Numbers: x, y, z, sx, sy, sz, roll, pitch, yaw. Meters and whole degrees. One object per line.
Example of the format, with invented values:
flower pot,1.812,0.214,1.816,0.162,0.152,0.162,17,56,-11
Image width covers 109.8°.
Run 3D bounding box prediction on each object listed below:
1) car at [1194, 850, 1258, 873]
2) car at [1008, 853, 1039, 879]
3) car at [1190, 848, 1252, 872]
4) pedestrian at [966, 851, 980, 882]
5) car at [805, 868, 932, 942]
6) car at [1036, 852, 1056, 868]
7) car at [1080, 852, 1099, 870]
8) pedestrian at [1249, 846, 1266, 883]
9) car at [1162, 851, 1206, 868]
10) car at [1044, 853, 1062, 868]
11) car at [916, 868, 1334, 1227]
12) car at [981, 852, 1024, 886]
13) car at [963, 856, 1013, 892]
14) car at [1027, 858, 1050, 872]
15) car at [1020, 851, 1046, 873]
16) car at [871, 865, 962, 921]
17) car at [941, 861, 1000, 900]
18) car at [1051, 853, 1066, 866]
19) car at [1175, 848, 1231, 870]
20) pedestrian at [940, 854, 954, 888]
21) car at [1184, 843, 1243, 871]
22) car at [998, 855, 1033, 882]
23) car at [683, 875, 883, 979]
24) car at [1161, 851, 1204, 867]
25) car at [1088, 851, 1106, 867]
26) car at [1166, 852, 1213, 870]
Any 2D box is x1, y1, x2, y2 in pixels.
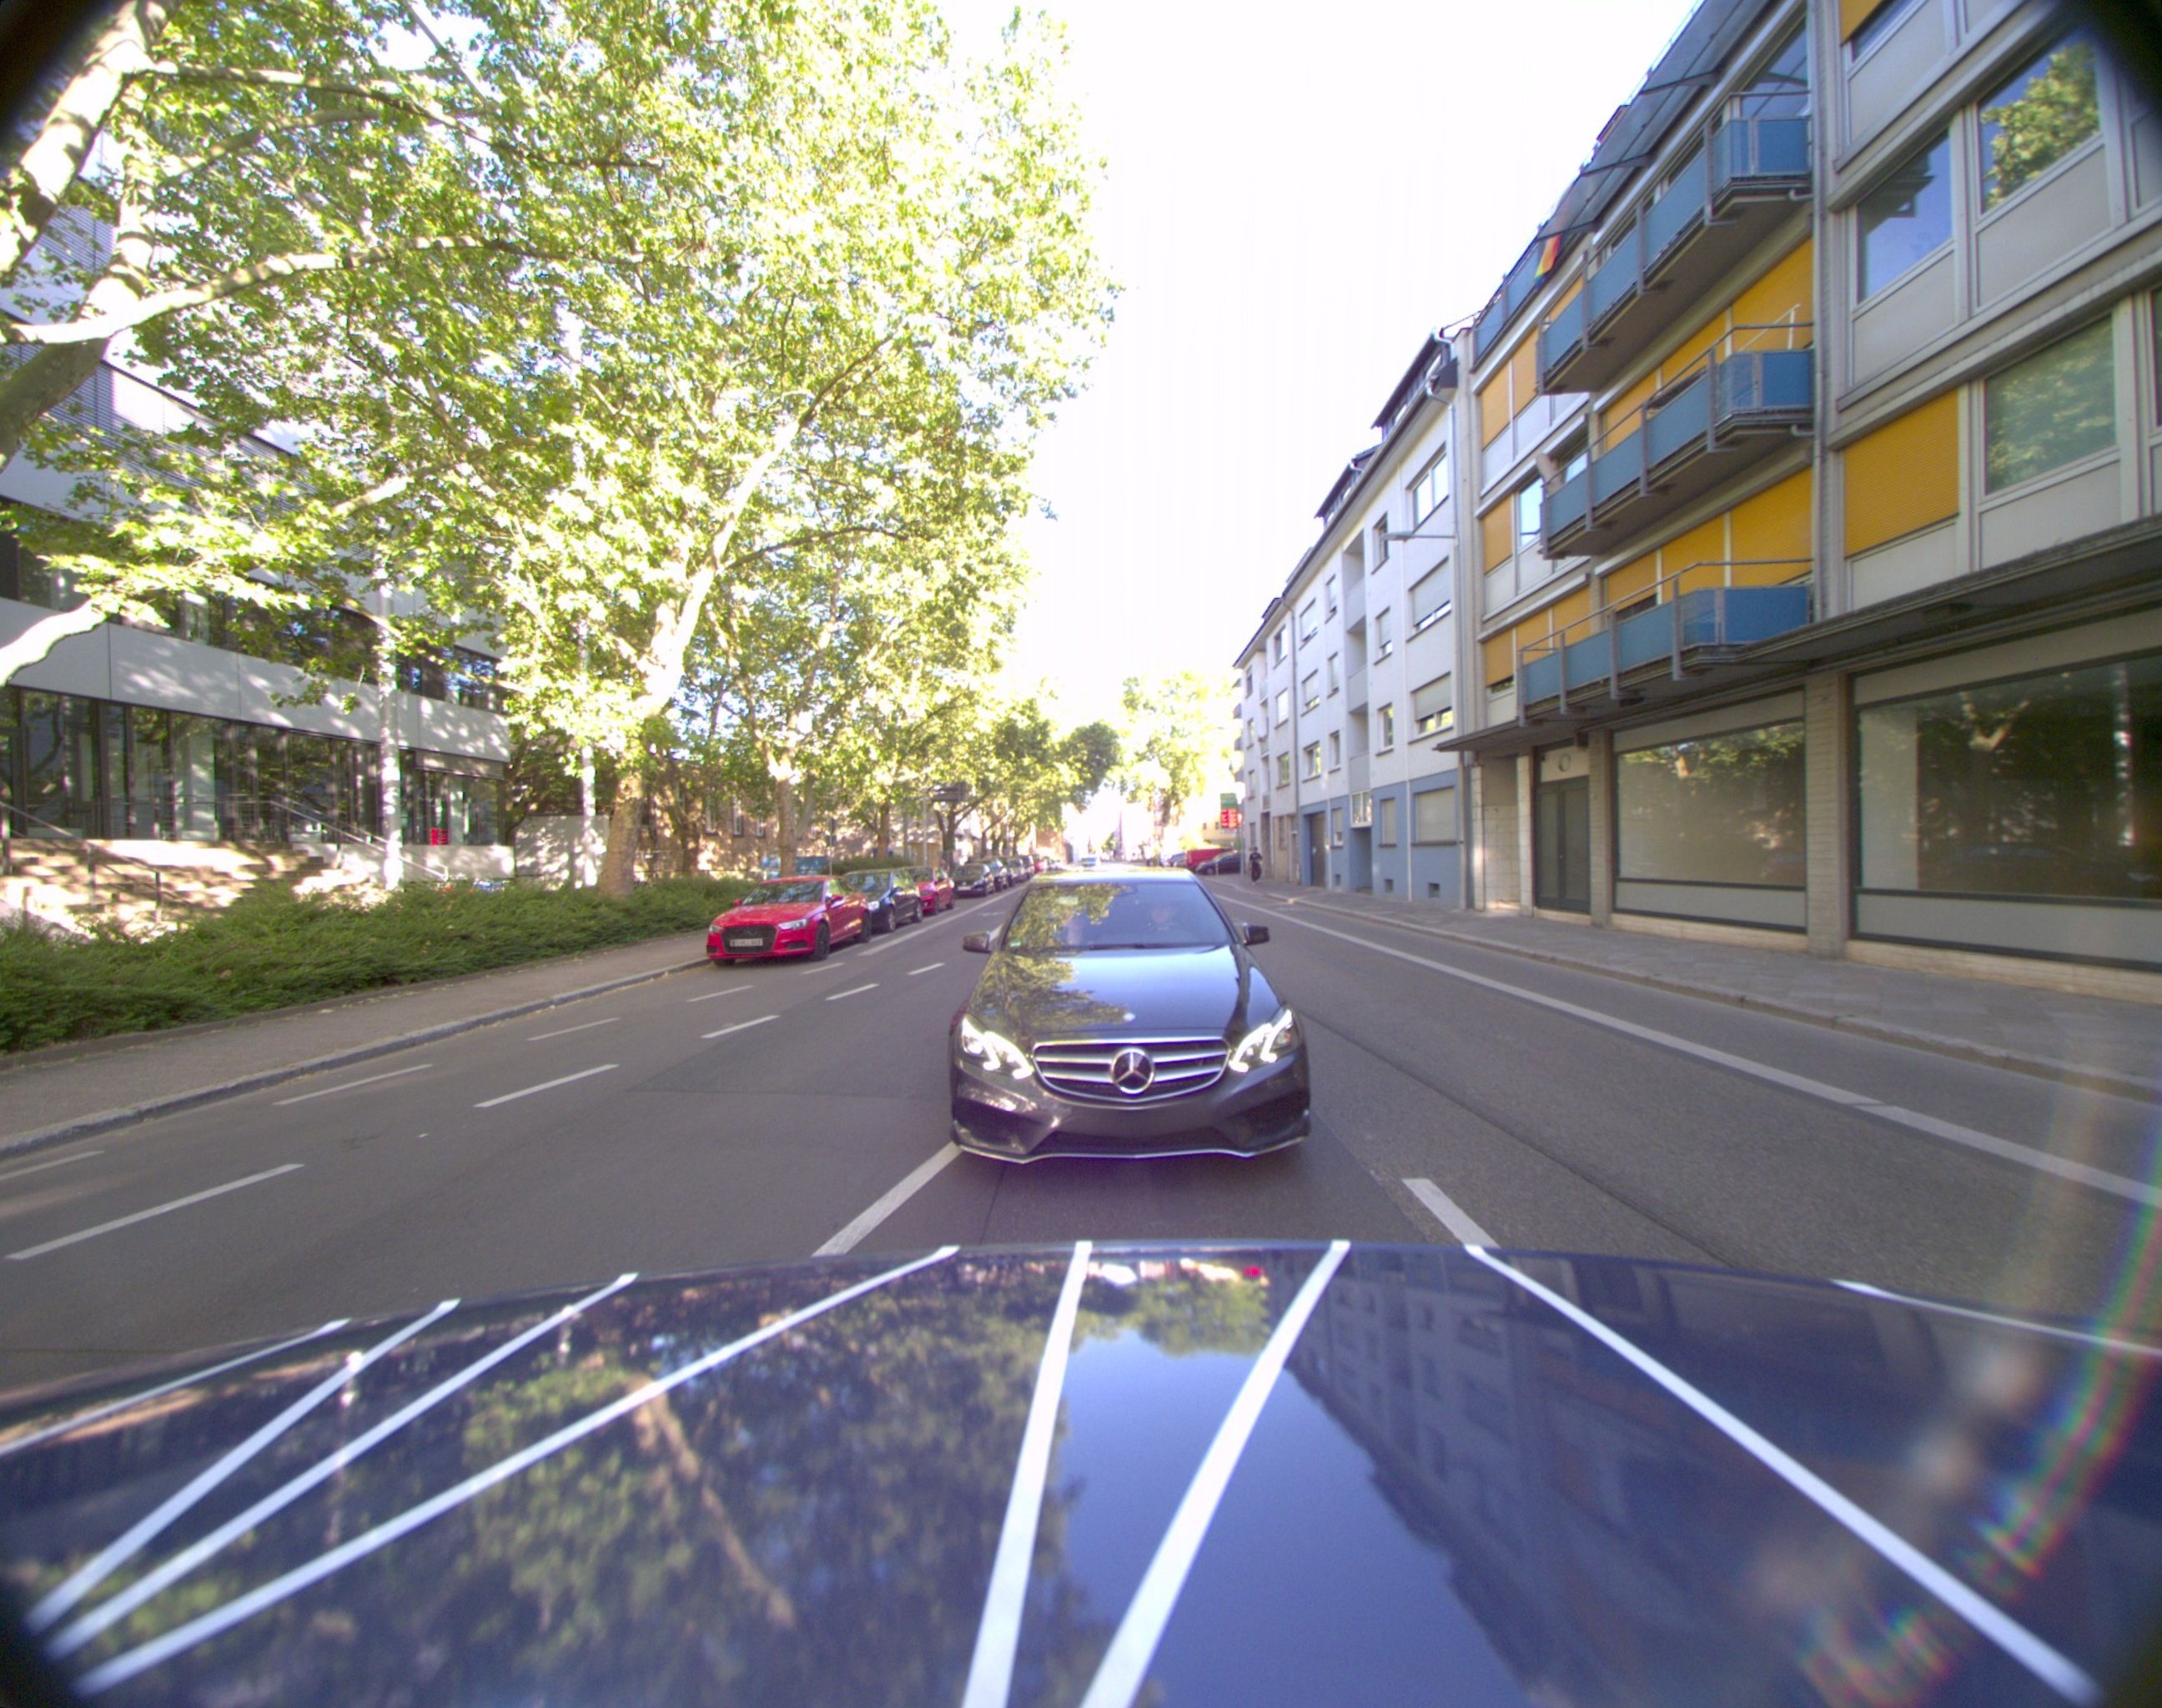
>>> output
car,10.408,0.519,54.756,4.255,1.392,1.653,-4,0,1
car,-4.171,0.815,55.649,1.835,1.750,4.259,-2,0,1
car,10.492,0.455,57.058,4.255,1.461,1.653,-4,0,1
pedestrian,-6.486,0.737,45.554,0.660,1.849,0.641,-2,1,1
car,-5.036,1.153,18.640,1.835,1.438,4.168,-2,0,1
car,-3.928,0.671,86.236,1.835,1.667,4.259,-2,0,1
car,0.828,0.629,70.691,1.726,1.530,4.000,-1,0,1
pedestrian,8.294,0.488,35.661,0.612,1.685,0.655,-2,1,1
car,10.613,0.541,78.659,4.255,1.461,1.653,-4,0,1
car,-3.400,0.789,92.852,1.835,1.667,4.259,-2,0,1
car,0.228,0.919,5.581,1.849,1.490,4.302,-1,0,1
car,-4.503,0.825,44.124,1.835,1.787,4.463,-2,0,1
car,-4.590,0.967,38.084,1.835,1.596,4.161,-2,0,1
car,-3.981,1.029,71.798,1.835,1.220,4.259,-2,0,1
car,-4.137,0.685,66.357,1.835,1.839,4.259,-2,0,1
car,-5.037,1.138,23.850,1.835,1.459,4.168,-2,0,1
car,-4.739,1.107,33.187,1.835,1.459,4.168,-2,0,1
car,-3.034,0.688,102.959,1.835,1.667,4.259,-2,0,1
car,10.061,0.409,62.720,4.255,1.461,1.653,-4,0,1
pedestrian,-7.213,0.894,40.780,0.601,1.785,0.593,-2,1,0
car,10.424,0.223,60.138,4.255,1.907,1.818,-4,0,0
car,-4.330,0.950,50.618,1.835,1.604,4.259,-2,0,1
car,-5.125,1.181,13.780,1.835,1.396,4.247,-2,0,1
car,10.784,0.515,80.623,4.255,1.461,1.653,-4,0,1
car,1.755,0.521,85.969,1.908,1.678,4.813,-2,0,1
car,10.442,0.674,73.201,4.255,1.461,1.653,-4,0,1
